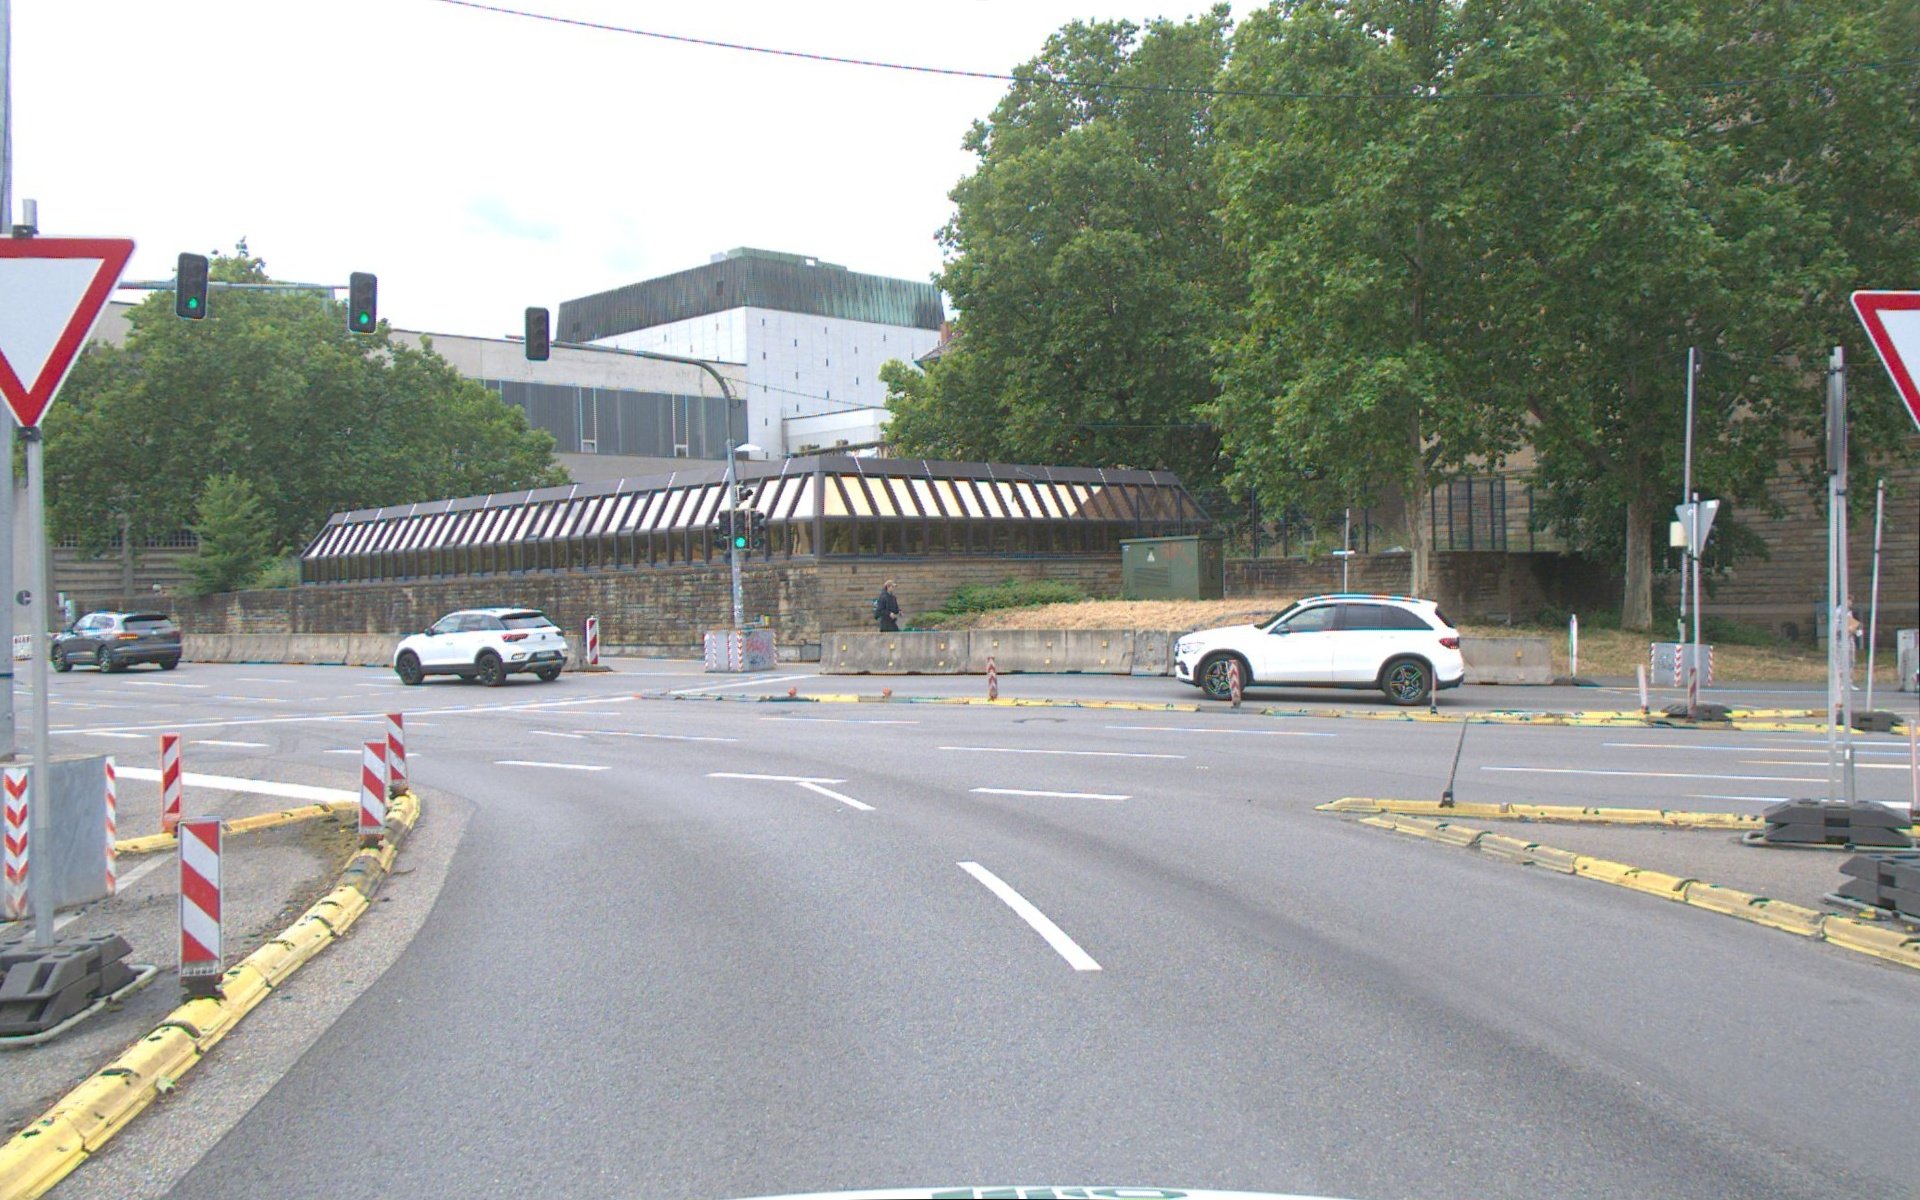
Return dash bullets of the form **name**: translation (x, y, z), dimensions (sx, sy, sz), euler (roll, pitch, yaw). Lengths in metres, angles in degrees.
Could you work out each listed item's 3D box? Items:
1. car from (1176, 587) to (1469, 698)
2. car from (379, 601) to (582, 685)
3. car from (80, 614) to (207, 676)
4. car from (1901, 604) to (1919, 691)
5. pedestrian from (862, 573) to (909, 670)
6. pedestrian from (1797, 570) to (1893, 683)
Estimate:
- **car**: translation (5.748, 0.644, 26.590), dimensions (4.440, 1.671, 1.819), euler (0, 1, 10)
- **car**: translation (-10.311, 0.932, 35.485), dimensions (4.239, 1.595, 1.752), euler (-2, 2, 32)
- **car**: translation (-23.491, 1.255, 47.526), dimensions (4.402, 1.595, 1.818), euler (0, 2, 43)
- **car**: translation (18.556, 0.780, 28.419), dimensions (4.299, 1.460, 1.731), euler (-1, 1, -18)
- **pedestrian**: translation (-1.600, 0.463, 35.440), dimensions (0.830, 2.049, 0.623), euler (-1, -1, 12)
- **pedestrian**: translation (16.488, 0.490, 30.852), dimensions (1.165, 2.049, 1.205), euler (-1, 0, 5)
